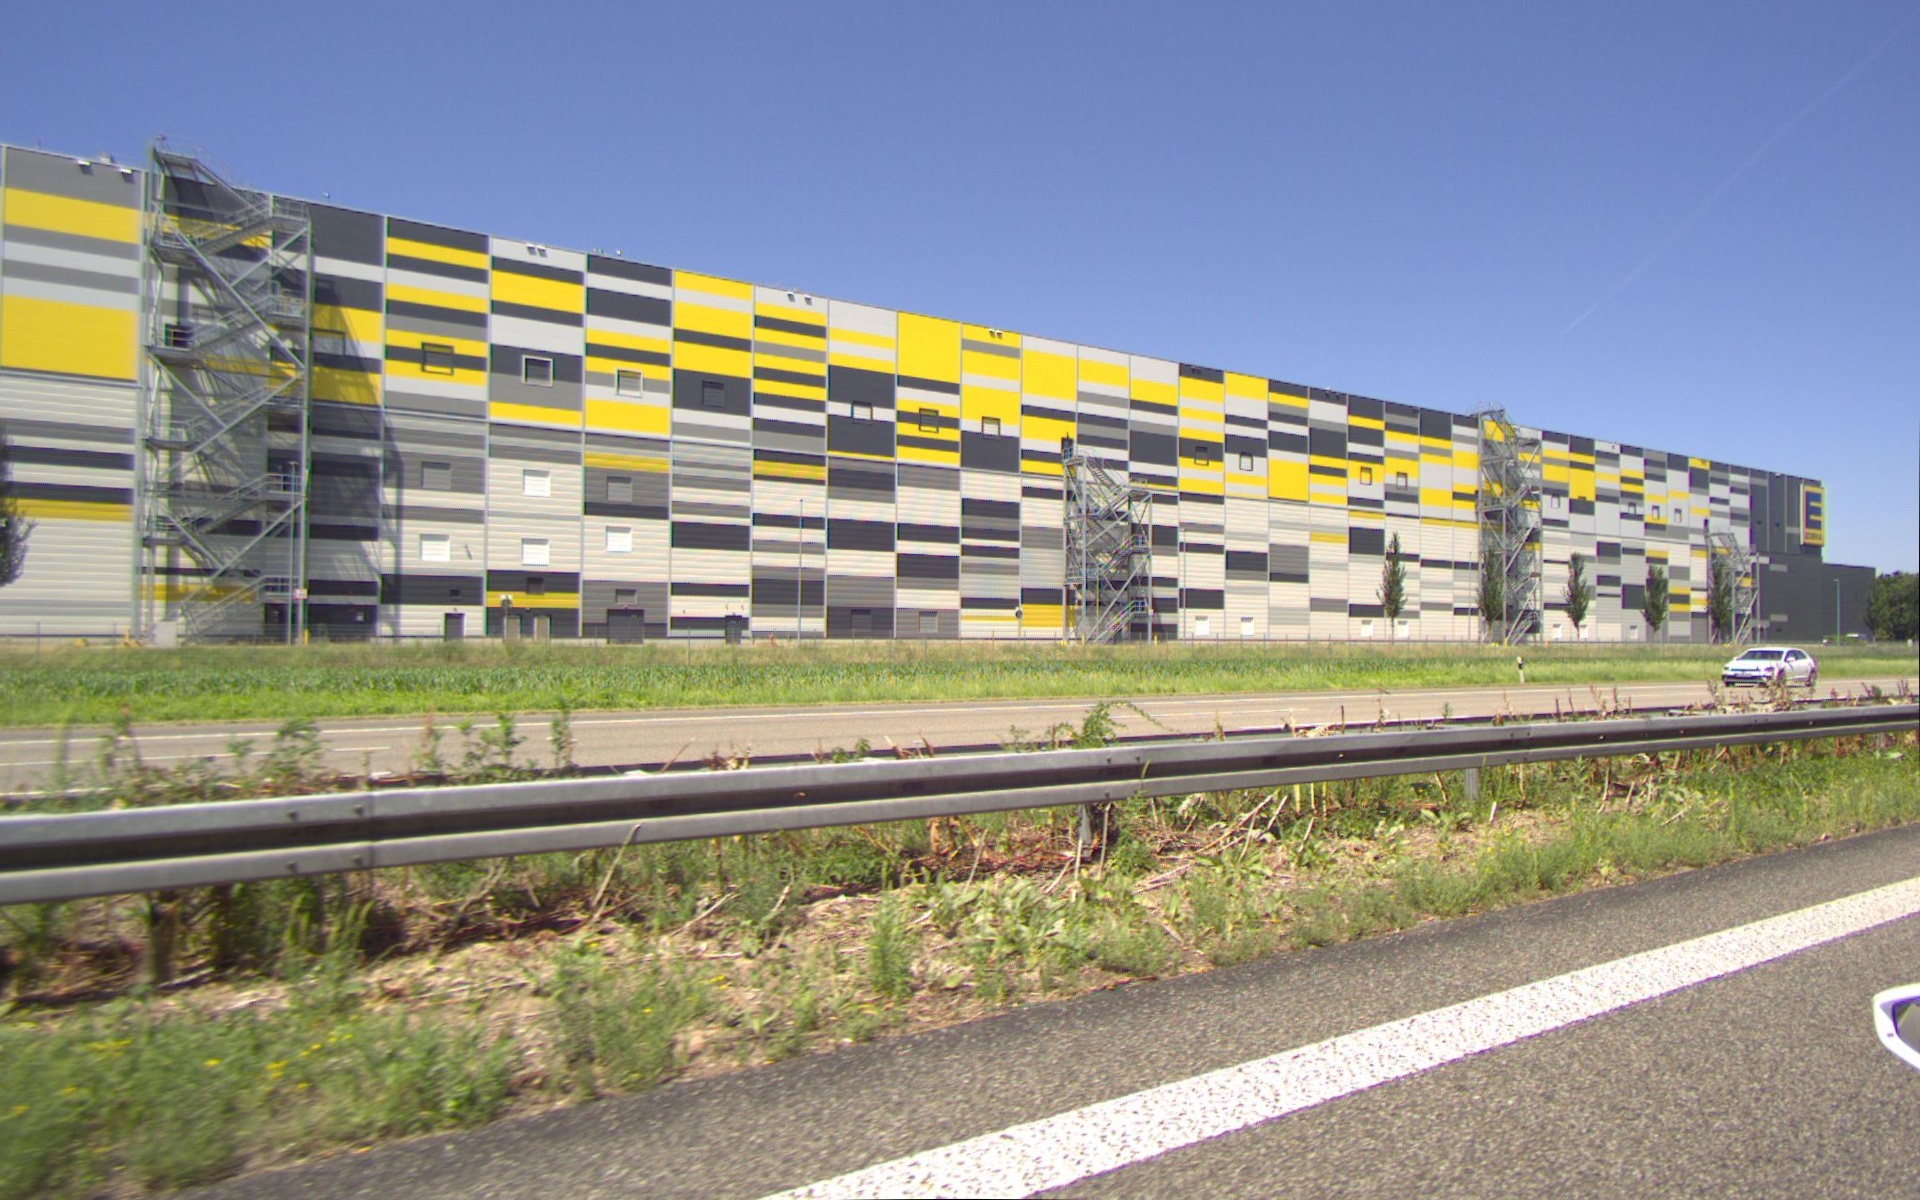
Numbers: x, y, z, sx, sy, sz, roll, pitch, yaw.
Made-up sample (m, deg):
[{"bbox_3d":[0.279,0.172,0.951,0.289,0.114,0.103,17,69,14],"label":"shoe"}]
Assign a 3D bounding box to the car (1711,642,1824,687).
[{"bbox_3d":[29.990,2.374,37.290,4.578,1.552,1.791,2,-2,-31],"label":"car"}]
